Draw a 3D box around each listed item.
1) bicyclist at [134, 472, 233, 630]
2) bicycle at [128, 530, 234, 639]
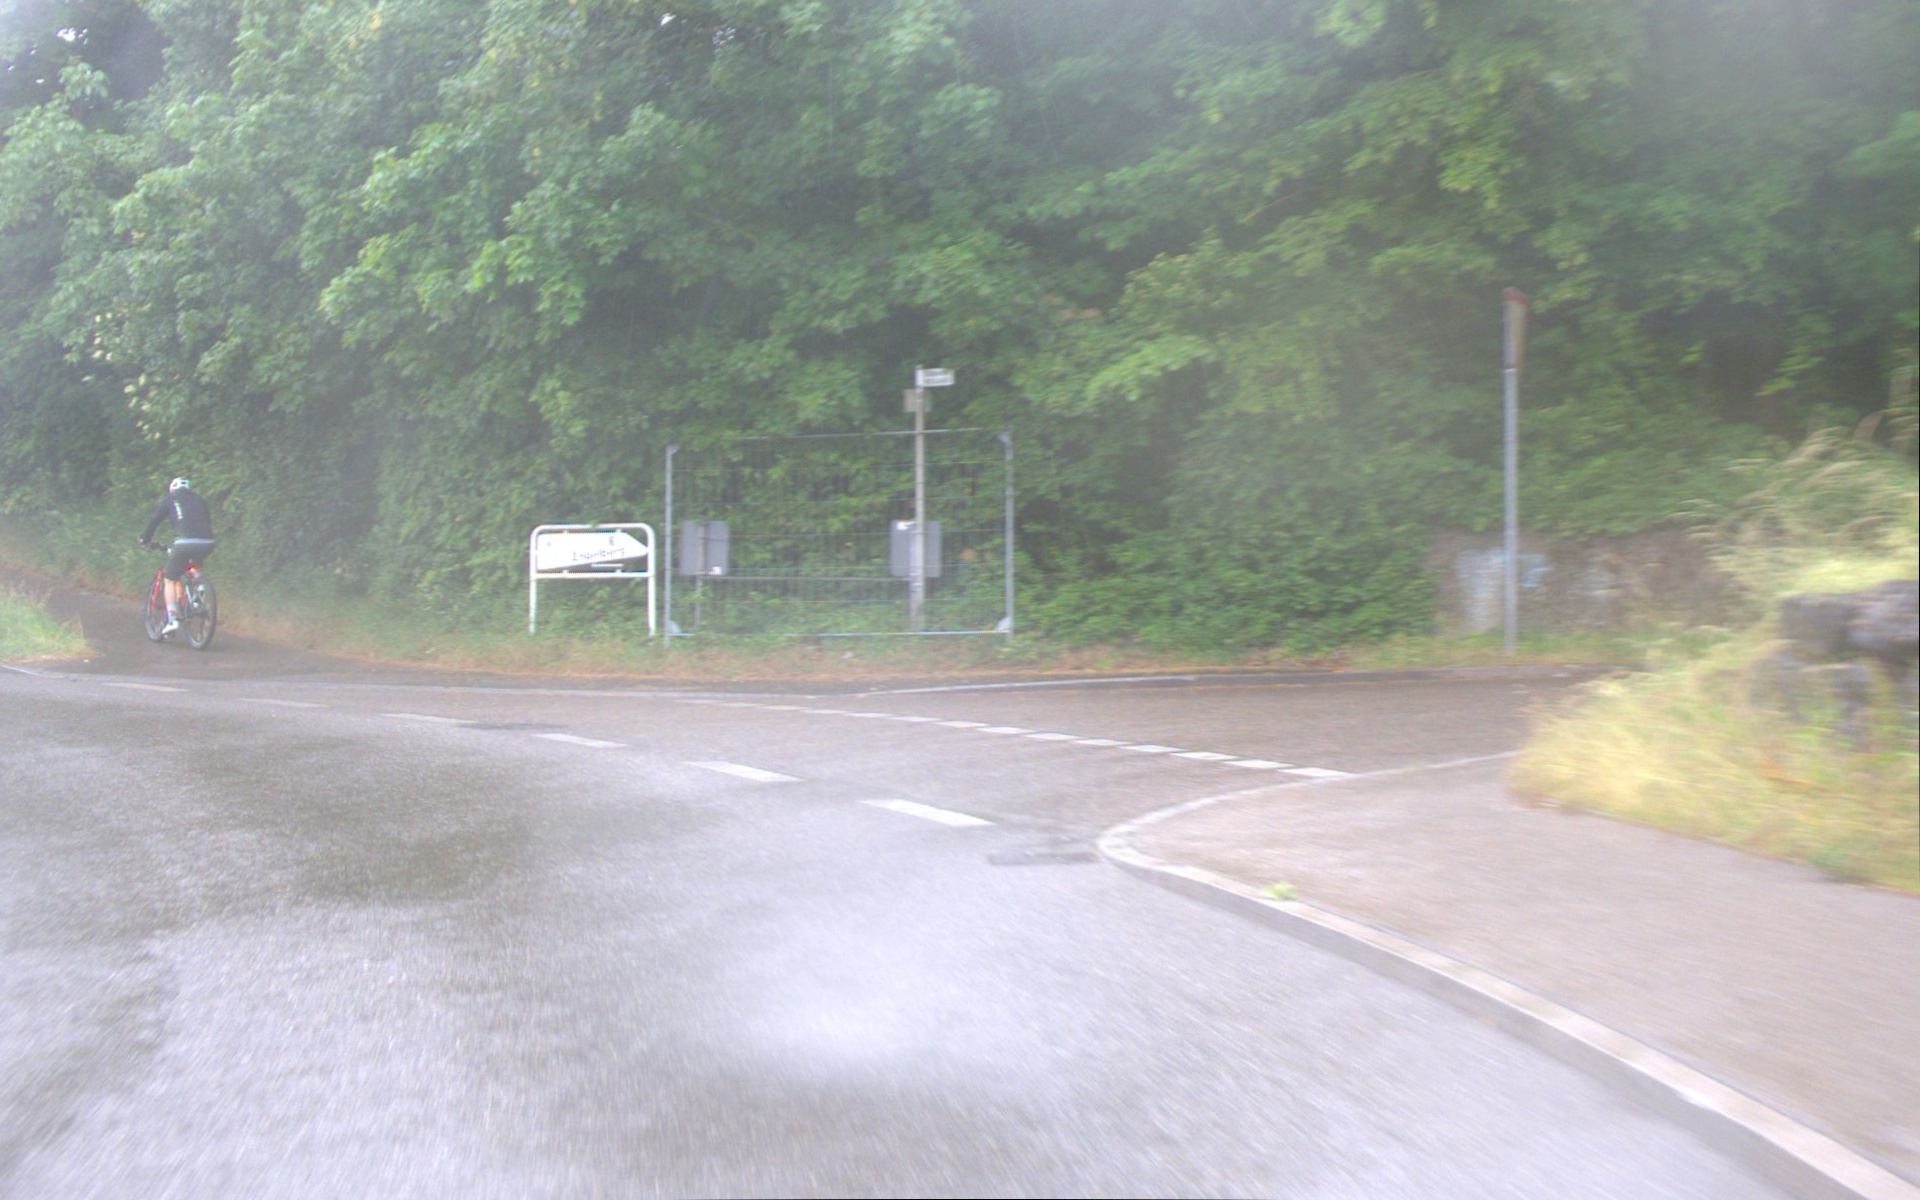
[{"bbox_3d":[-8.013,-0.509,35.451,0.720,1.609,0.905,0,1,-32],"label":"bicyclist"},{"bbox_3d":[-8.054,-0.167,35.498,0.527,1.081,1.621,0,1,-33],"label":"bicycle"}]
